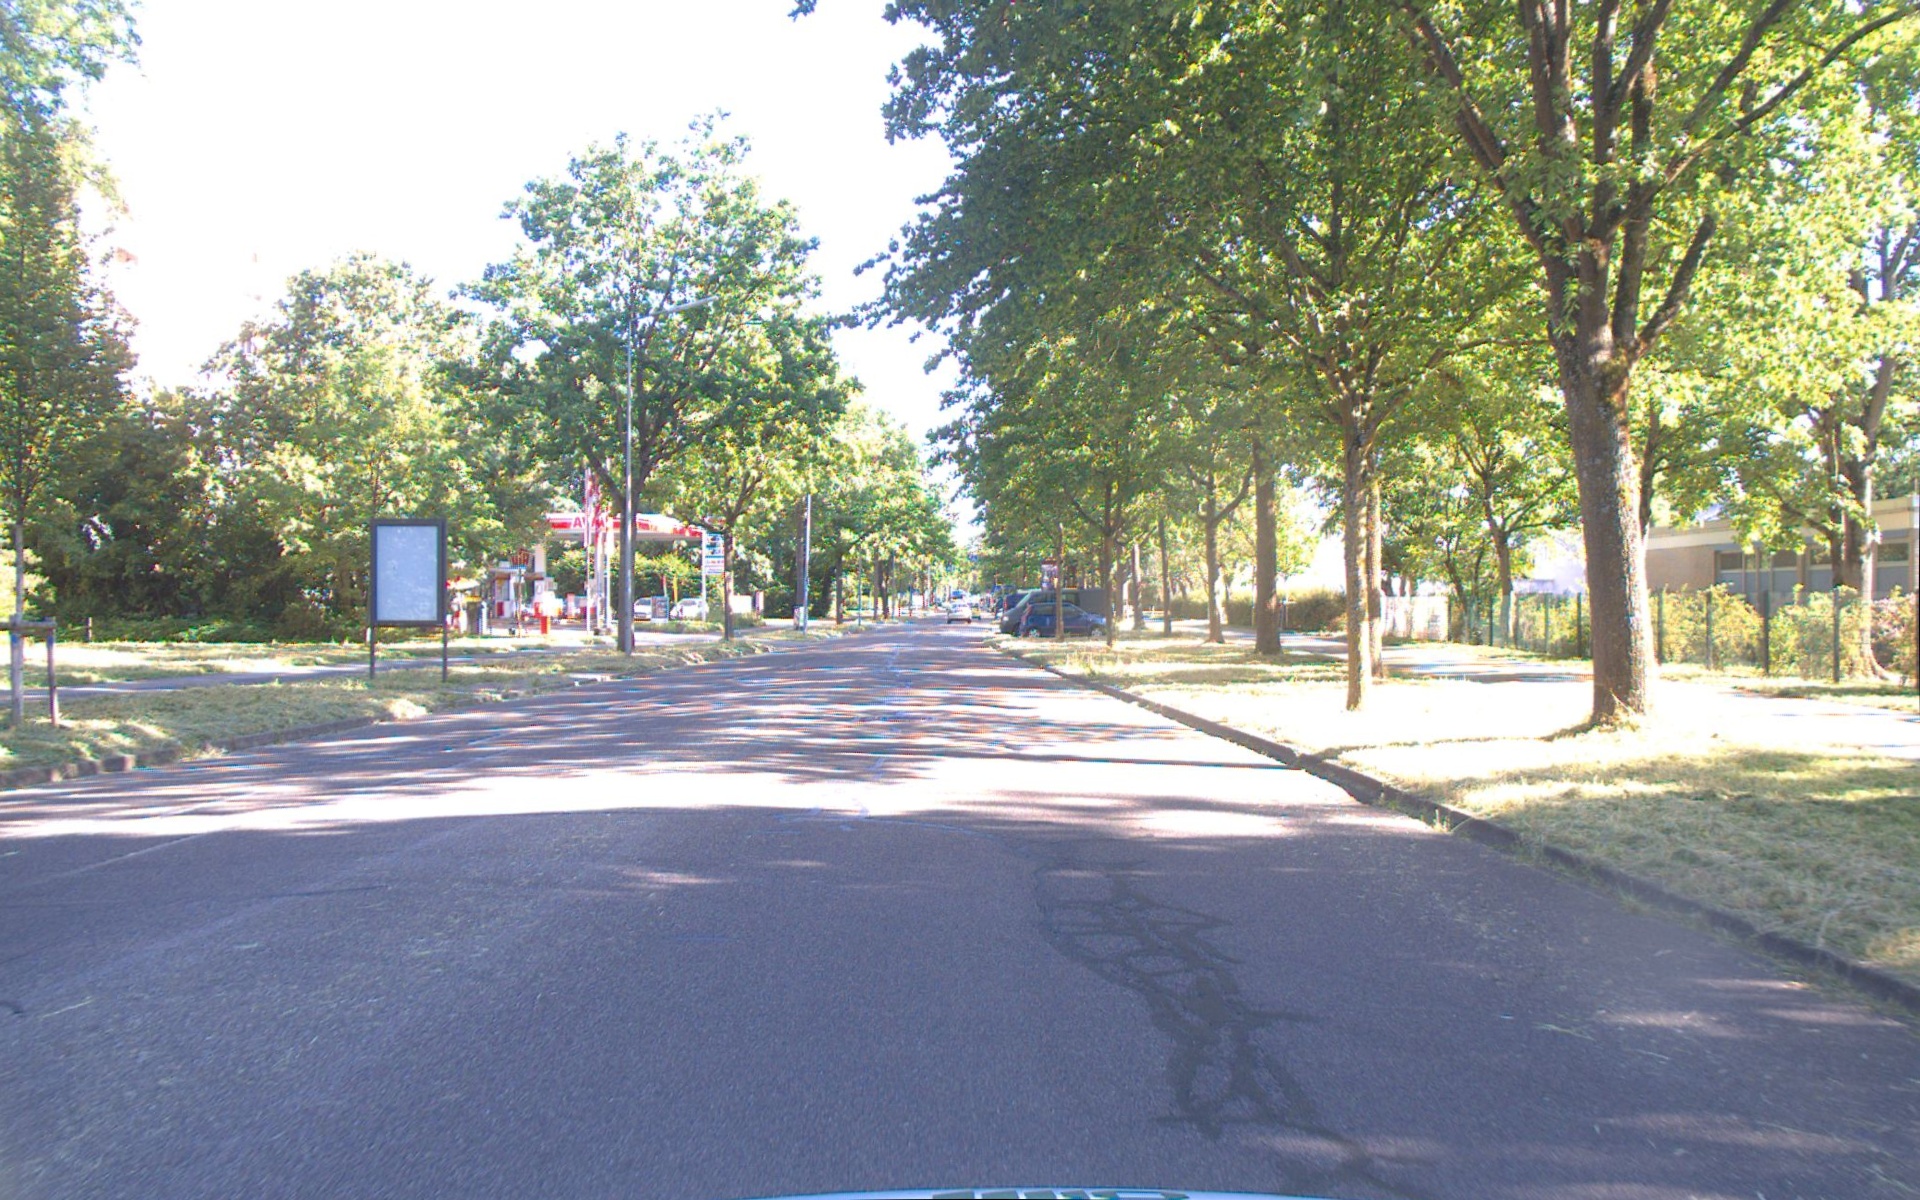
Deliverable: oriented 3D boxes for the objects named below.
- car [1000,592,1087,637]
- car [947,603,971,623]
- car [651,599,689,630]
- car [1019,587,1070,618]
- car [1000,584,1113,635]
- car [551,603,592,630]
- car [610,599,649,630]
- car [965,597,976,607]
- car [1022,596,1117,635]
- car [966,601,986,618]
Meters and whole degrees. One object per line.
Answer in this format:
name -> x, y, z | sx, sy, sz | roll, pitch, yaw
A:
car -> 3.469, 0.627, 69.187 | 3.578, 1.829, 1.317 | -1, -1, 0
car -> -0.081, 0.932, 117.800 | 1.627, 1.360, 3.664 | -1, -1, 0
car -> -17.864, 0.898, 102.053 | 1.765, 1.855, 3.803 | -1, -1, -2
car -> 5.916, 0.205, 115.868 | 3.494, 2.087, 1.632 | -1, -1, 0
car -> 3.868, 0.394, 66.703 | 4.410, 1.987, 1.687 | -1, -1, 0
car -> -24.476, 1.038, 104.348 | 1.764, 1.649, 3.804 | -1, -1, -1
car -> -20.339, 0.927, 101.882 | 1.765, 1.855, 3.803 | -1, -1, -2
car -> 1.536, 0.247, 245.476 | 1.627, 1.360, 3.664 | -1, -1, 0
car -> 4.193, 0.612, 63.720 | 3.578, 1.423, 1.317 | -1, -1, 0
car -> 1.354, 0.837, 139.725 | 1.627, 1.360, 3.664 | -1, -1, 0
